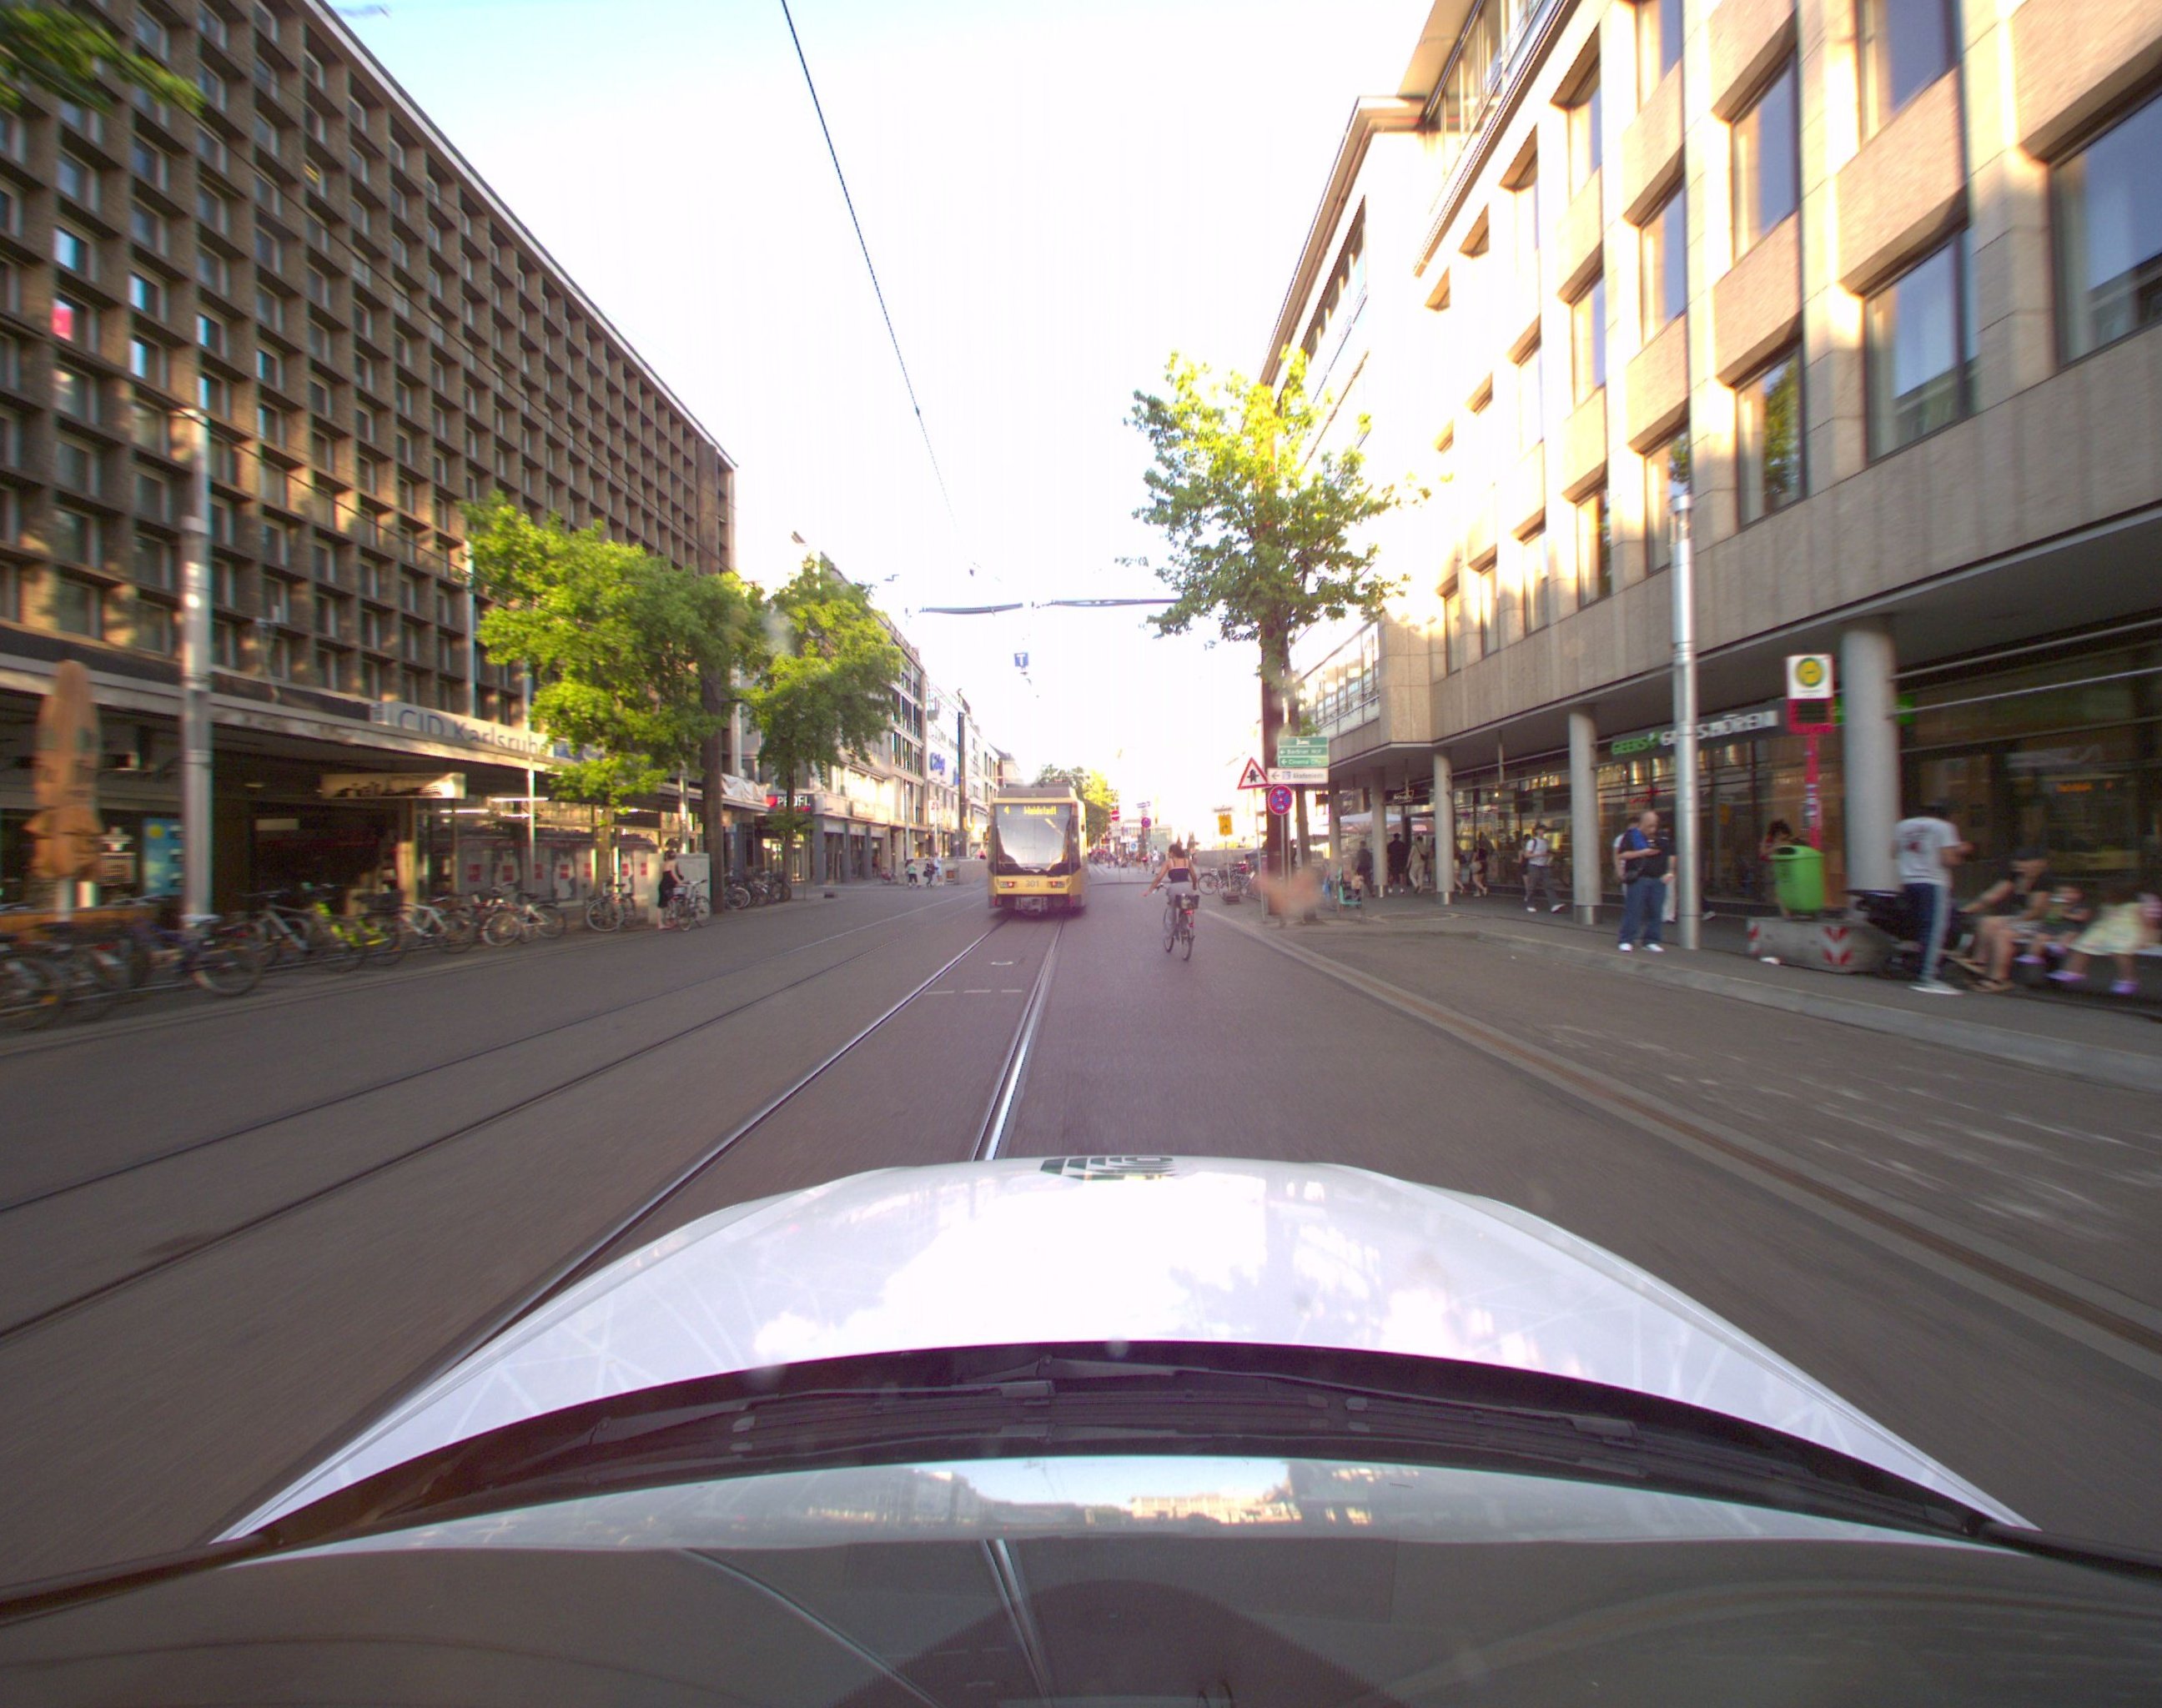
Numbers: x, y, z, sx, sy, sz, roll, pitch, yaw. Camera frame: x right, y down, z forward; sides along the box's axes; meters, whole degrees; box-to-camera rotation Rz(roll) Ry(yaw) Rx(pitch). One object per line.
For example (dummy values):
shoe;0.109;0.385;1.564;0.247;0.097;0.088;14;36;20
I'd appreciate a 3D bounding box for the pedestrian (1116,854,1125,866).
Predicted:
pedestrian;4.002;0.643;83.011;0.790;1.221;0.768;-1;0;-3

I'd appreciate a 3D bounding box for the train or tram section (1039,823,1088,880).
train or tram section;-1.020;-0.169;55.243;2.791;3.319;14.506;-1;0;0

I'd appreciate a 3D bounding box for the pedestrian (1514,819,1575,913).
pedestrian;9.382;0.243;16.522;0.666;1.839;0.880;-2;-1;0

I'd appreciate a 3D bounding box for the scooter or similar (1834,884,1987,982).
scooter or similar;8.173;0.754;8.067;0.827;0.884;0.689;0;-1;14

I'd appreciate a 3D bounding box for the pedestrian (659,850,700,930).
pedestrian;-8.706;0.768;17.679;0.595;1.699;0.539;0;0;29

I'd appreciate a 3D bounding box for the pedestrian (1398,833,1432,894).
pedestrian;10.033;0.282;24.494;0.660;1.787;0.719;-2;-1;1

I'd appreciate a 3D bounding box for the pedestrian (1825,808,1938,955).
pedestrian;9.482;0.312;9.668;0.646;1.661;0.650;-2;0;1

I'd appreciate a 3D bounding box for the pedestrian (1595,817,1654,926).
pedestrian;9.340;0.292;14.009;0.537;1.806;0.604;-2;0;-1

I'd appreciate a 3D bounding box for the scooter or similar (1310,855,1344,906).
scooter or similar;6.455;0.688;21.321;0.388;1.251;1.199;-2;1;38

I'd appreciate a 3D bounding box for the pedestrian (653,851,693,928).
pedestrian;-9.110;0.775;18.196;0.595;1.699;0.539;0;0;29

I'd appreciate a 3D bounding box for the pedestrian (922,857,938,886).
pedestrian;-8.117;0.951;43.829;0.680;1.542;0.607;-1;-1;8

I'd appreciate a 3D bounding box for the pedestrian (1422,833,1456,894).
pedestrian;10.764;0.276;24.497;0.660;1.787;0.719;-2;-1;1

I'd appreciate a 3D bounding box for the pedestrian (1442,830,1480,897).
pedestrian;10.436;0.266;22.371;0.660;1.787;0.719;-2;-1;1

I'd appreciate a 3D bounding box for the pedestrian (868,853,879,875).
pedestrian;-16.759;0.783;65.684;0.711;1.725;0.709;-1;-1;-1

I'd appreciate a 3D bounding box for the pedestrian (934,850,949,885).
pedestrian;-7.831;0.746;45.658;0.772;1.926;0.707;-1;-1;-8

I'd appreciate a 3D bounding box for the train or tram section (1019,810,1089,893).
train or tram section;-1.072;-0.126;40.703;2.791;3.319;14.506;-1;0;0

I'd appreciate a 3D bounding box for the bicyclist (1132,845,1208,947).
bicyclist;1.339;0.620;12.427;0.995;1.502;0.855;0;0;-6

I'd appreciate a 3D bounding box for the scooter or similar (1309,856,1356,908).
scooter or similar;6.403;0.697;20.699;1.195;1.251;0.389;-3;0;-29

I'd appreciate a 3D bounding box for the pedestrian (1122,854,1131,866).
pedestrian;4.596;0.634;82.209;0.790;1.221;0.768;-1;0;-3

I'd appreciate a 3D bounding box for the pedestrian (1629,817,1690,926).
pedestrian;9.872;0.288;13.913;0.537;1.806;0.604;-2;0;-1

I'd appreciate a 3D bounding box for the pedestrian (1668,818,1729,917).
pedestrian;11.110;0.232;14.676;0.568;1.731;0.617;-2;0;-1

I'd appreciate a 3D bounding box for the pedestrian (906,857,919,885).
pedestrian;-8.926;0.908;43.222;0.603;1.494;0.554;-1;-1;-8

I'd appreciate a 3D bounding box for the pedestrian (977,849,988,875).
pedestrian;-7.189;0.582;59.435;0.712;1.925;0.708;-1;-1;-5

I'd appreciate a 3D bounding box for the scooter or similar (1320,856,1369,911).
scooter or similar;6.432;0.709;19.858;1.119;1.251;0.492;-3;0;-30

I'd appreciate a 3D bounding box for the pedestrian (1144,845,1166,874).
pedestrian;4.795;0.332;52.966;1.019;1.863;1.034;0;-1;-26

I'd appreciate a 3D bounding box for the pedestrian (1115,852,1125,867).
pedestrian;4.183;0.576;87.116;0.759;1.579;0.800;-1;0;30

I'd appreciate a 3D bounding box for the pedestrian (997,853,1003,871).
pedestrian;-7.435;0.724;74.763;0.511;1.617;0.504;-1;-1;-9

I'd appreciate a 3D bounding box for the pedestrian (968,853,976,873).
pedestrian;-8.716;0.705;65.128;0.603;1.588;0.626;-1;-1;-9

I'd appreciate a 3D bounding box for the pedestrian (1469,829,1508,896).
pedestrian;11.169;0.230;22.346;0.660;1.787;0.719;-2;-1;1

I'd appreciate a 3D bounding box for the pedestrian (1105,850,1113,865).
pedestrian;3.242;0.388;95.055;0.787;1.661;0.772;-1;0;12

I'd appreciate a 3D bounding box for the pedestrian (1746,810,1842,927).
pedestrian;11.258;0.218;12.880;0.770;1.772;0.774;-2;-1;-1

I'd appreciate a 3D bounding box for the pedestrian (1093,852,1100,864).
pedestrian;2.092;0.508;112.697;0.787;1.661;0.772;-1;0;12

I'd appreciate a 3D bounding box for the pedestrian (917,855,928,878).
pedestrian;-12.341;0.964;63.451;0.711;1.725;0.709;-1;-1;-1

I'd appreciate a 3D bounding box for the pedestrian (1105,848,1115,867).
pedestrian;2.809;0.326;79.293;0.734;1.823;0.816;-1;0;-14

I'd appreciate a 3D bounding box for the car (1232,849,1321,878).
car;9.691;0.479;40.581;4.027;1.409;1.775;-1;-1;-1

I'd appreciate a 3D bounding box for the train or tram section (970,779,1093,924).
train or tram section;-1.132;-0.085;26.199;2.791;3.319;14.506;-1;0;0

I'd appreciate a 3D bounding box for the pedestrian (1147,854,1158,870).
pedestrian;7.636;0.872;86.743;0.773;1.661;0.785;-1;0;-41

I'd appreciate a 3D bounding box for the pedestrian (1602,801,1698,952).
pedestrian;7.244;0.282;10.402;0.666;1.839;0.708;-2;-1;0
